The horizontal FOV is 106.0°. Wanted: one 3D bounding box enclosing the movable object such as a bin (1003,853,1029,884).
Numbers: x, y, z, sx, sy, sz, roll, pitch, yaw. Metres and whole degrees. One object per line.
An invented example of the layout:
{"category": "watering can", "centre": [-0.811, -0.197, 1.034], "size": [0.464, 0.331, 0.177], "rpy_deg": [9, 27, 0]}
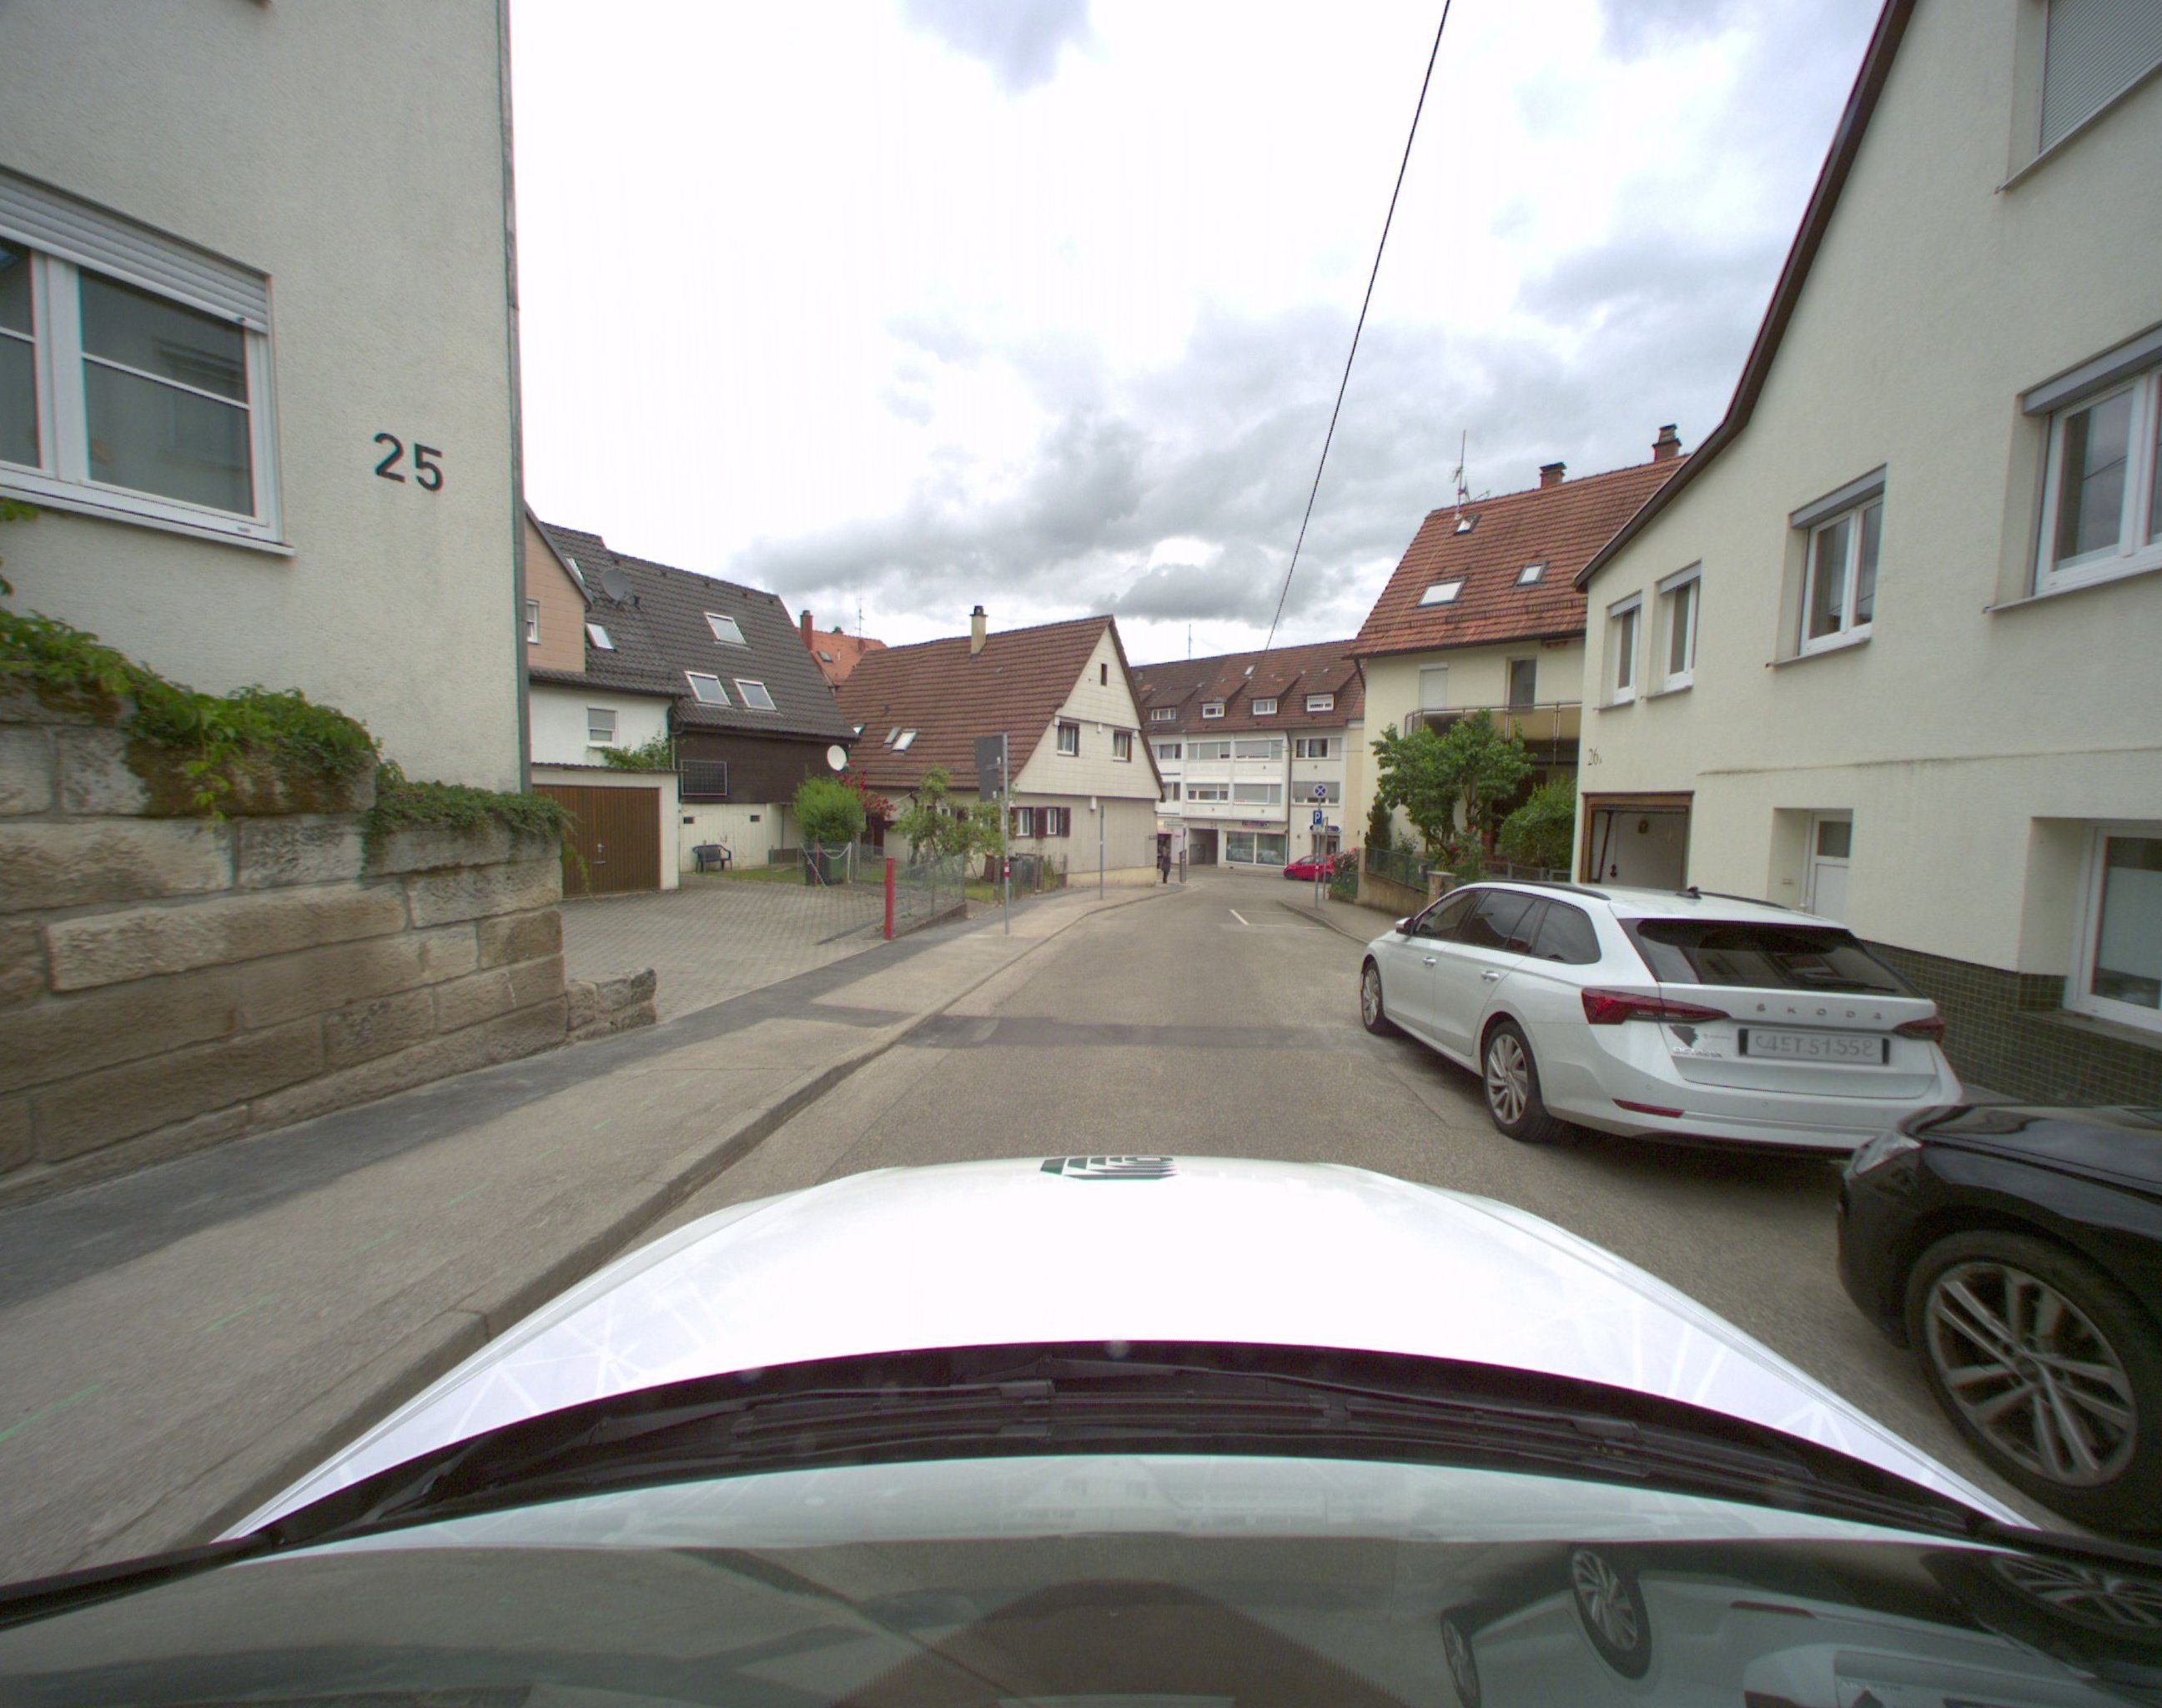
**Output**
{"category": "movable object such as a bin", "centre": [-1.999, 0.448, 25.192], "size": [0.522, 0.884, 0.493], "rpy_deg": [6, 0, 35]}

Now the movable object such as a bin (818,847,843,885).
{"category": "movable object such as a bin", "centre": [-6.655, 0.320, 21.670], "size": [0.395, 0.981, 0.511], "rpy_deg": [0, 0, 22]}

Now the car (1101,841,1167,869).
{"category": "car", "centre": [3.625, 0.019, 56.150], "size": [1.958, 1.779, 4.315], "rpy_deg": [-1, 2, -45]}

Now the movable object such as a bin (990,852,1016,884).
{"category": "movable object such as a bin", "centre": [-2.428, 0.445, 25.475], "size": [0.522, 0.917, 0.493], "rpy_deg": [6, 0, 35]}

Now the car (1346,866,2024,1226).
{"category": "car", "centre": [3.375, 0.877, 5.776], "size": [1.787, 1.445, 4.302], "rpy_deg": [3, 0, 4]}

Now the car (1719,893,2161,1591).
{"category": "car", "centre": [3.110, 0.886, 0.904], "size": [1.667, 1.408, 4.053], "rpy_deg": [3, 0, 2]}

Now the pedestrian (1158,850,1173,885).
{"category": "pedestrian", "centre": [4.199, 0.658, 40.480], "size": [0.642, 1.684, 0.606], "rpy_deg": [2, 1, 14]}

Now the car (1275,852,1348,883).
{"category": "car", "centre": [13.256, 0.754, 46.938], "size": [1.707, 1.556, 3.651], "rpy_deg": [1, 2, -43]}

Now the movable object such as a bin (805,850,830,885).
{"category": "movable object such as a bin", "centre": [-6.852, 0.351, 21.160], "size": [0.373, 0.893, 0.492], "rpy_deg": [1, 0, 22]}

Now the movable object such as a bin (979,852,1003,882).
{"category": "movable object such as a bin", "centre": [-2.841, 0.410, 25.830], "size": [0.490, 0.878, 0.455], "rpy_deg": [6, 0, 36]}
